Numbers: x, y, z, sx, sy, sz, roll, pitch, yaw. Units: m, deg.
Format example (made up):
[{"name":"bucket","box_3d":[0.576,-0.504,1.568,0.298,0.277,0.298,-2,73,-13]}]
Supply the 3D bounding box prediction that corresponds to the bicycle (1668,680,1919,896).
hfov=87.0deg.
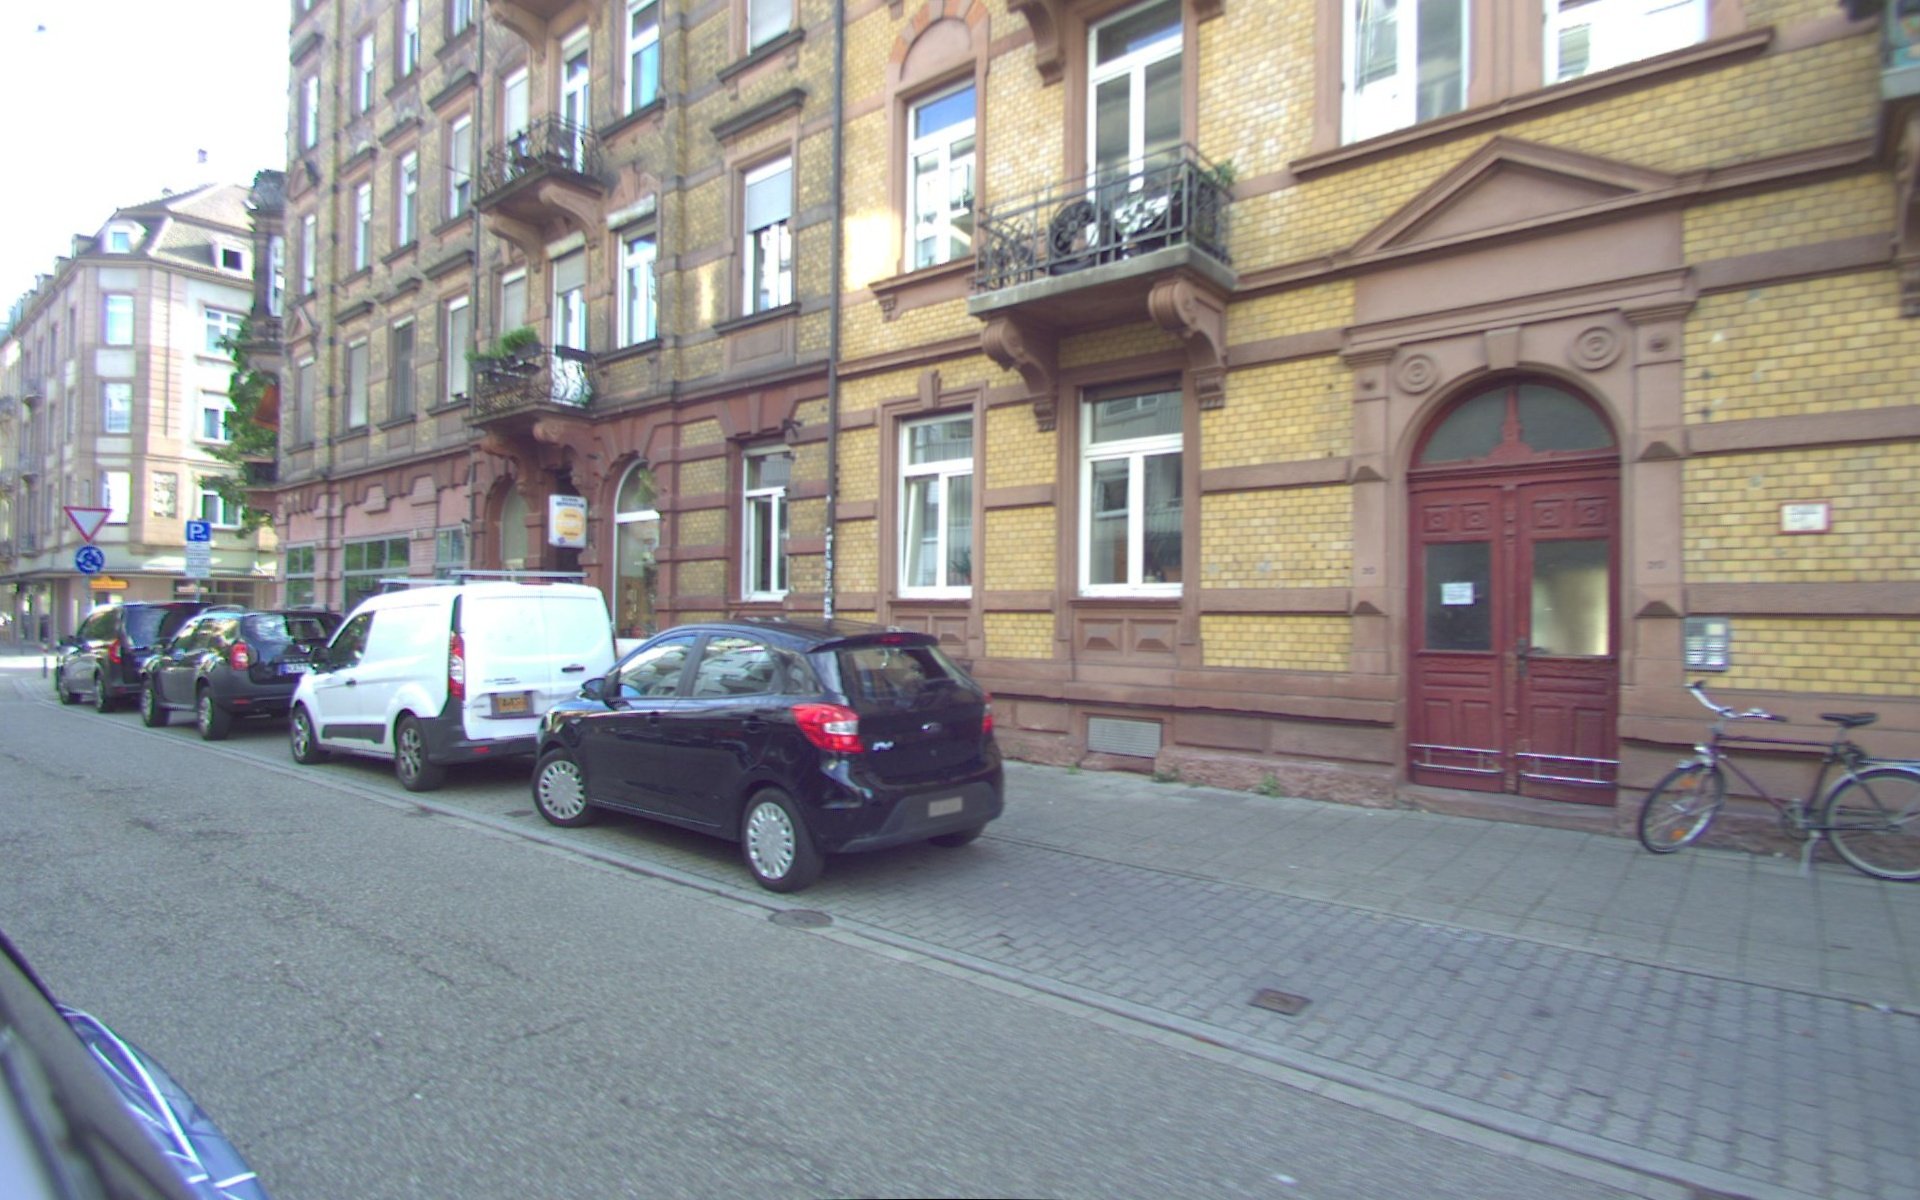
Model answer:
[{"name":"bicycle","box_3d":[5.186,1.041,5.798,1.771,1.045,0.846,-1,0,41]}]

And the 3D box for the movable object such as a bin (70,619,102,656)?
[{"name":"movable object such as a bin","box_3d":[-17.337,0.735,20.082,0.475,0.719,0.379,-1,-1,35]}]

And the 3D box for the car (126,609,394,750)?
[{"name":"car","box_3d":[-9.713,0.958,13.949,4.141,1.650,1.974,-1,-1,39]}]

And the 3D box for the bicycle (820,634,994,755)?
[{"name":"bicycle","box_3d":[-0.604,0.960,10.863,1.999,1.159,0.562,-1,0,40]}]

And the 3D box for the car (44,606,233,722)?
[{"name":"car","box_3d":[-14.580,1.023,17.879,4.401,1.787,1.742,-1,0,39]}]

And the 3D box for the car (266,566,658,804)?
[{"name":"car","box_3d":[-5.132,0.731,10.173,4.433,1.886,1.900,-1,-2,40]}]

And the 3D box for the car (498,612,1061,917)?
[{"name":"car","box_3d":[-1.428,0.843,7.006,3.981,1.495,1.724,0,0,41]}]
